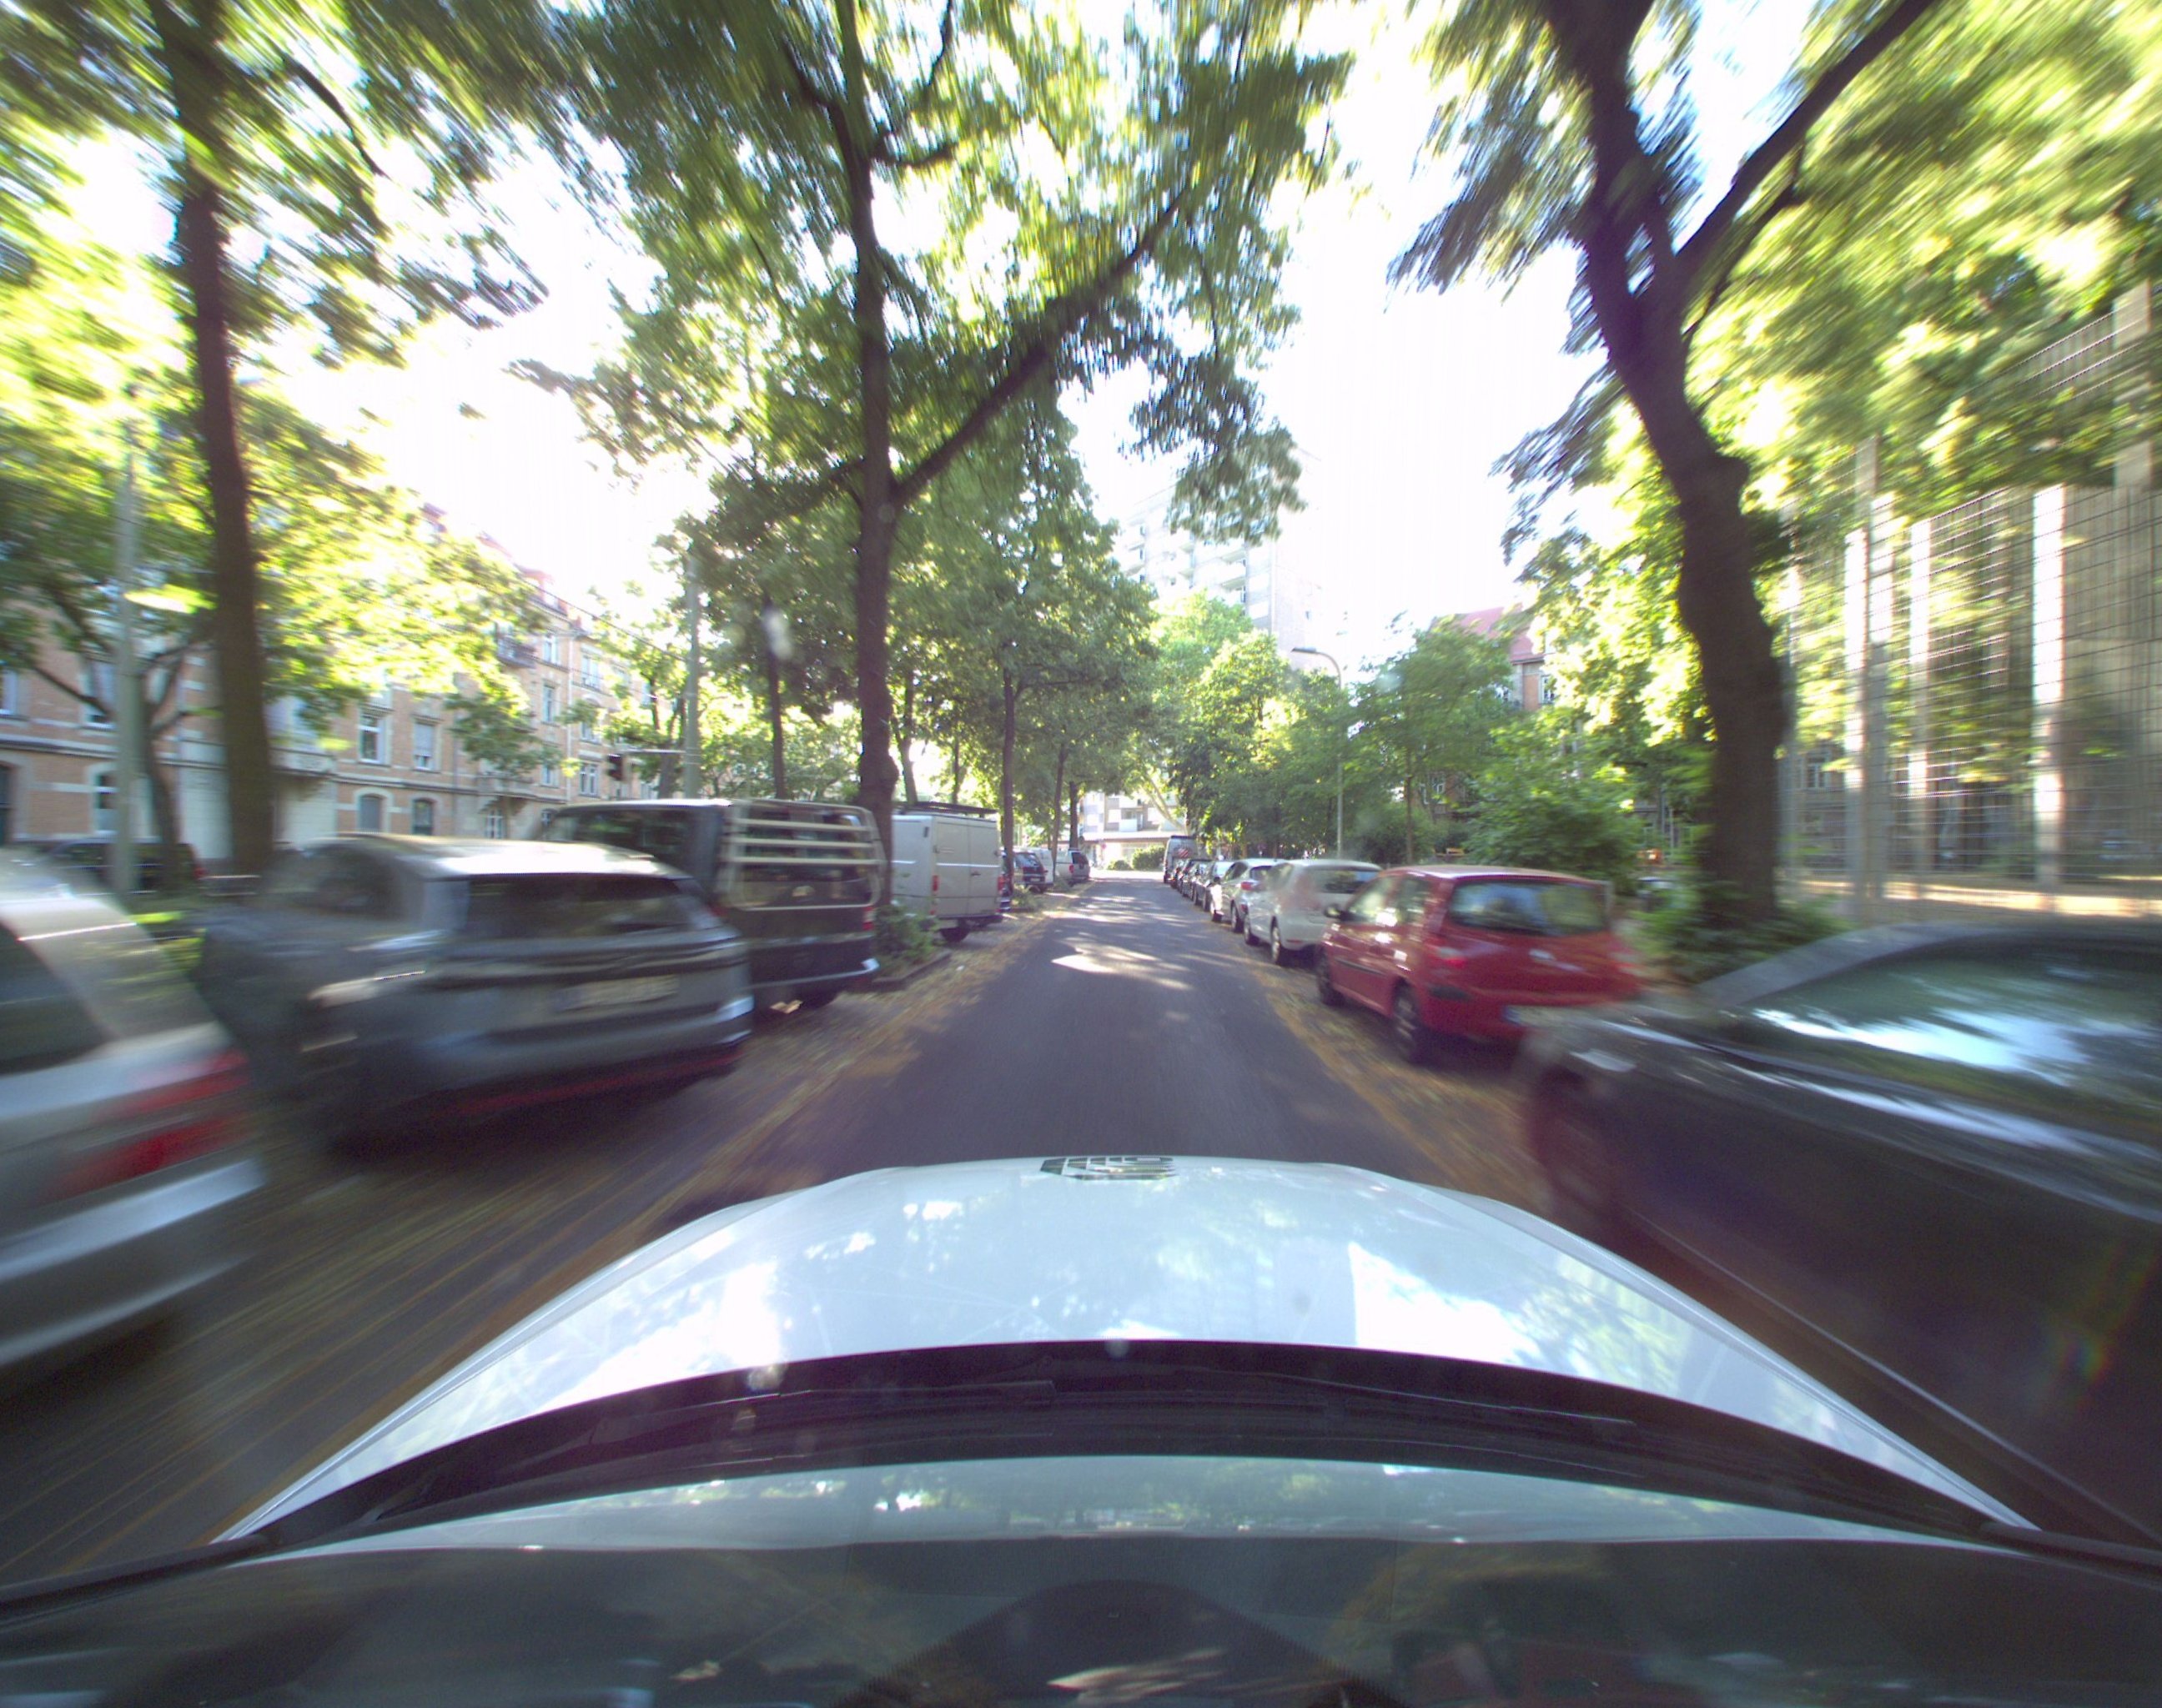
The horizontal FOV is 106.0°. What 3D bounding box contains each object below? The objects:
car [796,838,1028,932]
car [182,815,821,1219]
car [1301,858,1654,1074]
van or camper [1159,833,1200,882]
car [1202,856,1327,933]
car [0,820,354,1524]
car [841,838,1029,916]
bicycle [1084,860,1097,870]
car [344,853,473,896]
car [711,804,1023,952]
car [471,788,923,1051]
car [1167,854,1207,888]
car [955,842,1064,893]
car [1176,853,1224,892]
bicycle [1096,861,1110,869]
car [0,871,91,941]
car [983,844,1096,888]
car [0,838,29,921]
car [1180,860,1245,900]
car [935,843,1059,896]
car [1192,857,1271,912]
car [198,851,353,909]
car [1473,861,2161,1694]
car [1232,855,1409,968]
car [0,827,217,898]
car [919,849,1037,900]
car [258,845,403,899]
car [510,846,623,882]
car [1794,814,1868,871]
[{"bbox_3d":[-3.598,0.585,17.234,4.464,1.616,1.946,3,0,26],"label":"car"},{"bbox_3d":[-3.988,0.616,5.335,4.513,1.541,1.946,3,0,35],"label":"car"},{"bbox_3d":[3.204,0.776,7.377,1.584,1.454,3.556,0,0,2],"label":"car"},{"bbox_3d":[5.881,0.207,49.143,2.075,2.762,5.851,0,0,4],"label":"van or camper"},{"bbox_3d":[3.797,0.782,17.533,1.676,1.454,4.073,0,0,-2],"label":"car"},{"bbox_3d":[-4.240,0.637,2.601,4.042,1.488,1.795,3,0,33],"label":"car"},{"bbox_3d":[-3.727,0.525,20.524,4.462,1.616,1.865,3,0,32],"label":"car"},{"bbox_3d":[1.035,1.186,88.071,0.641,1.022,2.070,0,0,-25],"label":"bicycle"},{"bbox_3d":[-19.618,0.572,23.723,4.150,1.168,1.509,0,0,30],"label":"car"},{"bbox_3d":[-3.912,0.300,14.493,5.444,2.137,2.094,3,0,32],"label":"car"},{"bbox_3d":[-3.985,0.412,8.141,4.653,1.943,1.946,3,0,35],"label":"car"},{"bbox_3d":[5.146,0.796,39.960,1.673,1.526,4.494,0,0,4],"label":"car"},{"bbox_3d":[-2.891,0.509,32.608,4.108,1.781,1.895,3,0,38],"label":"car"},{"bbox_3d":[4.958,0.736,34.376,1.673,1.526,4.291,0,0,3],"label":"car"},{"bbox_3d":[2.314,1.153,86.046,0.546,0.904,1.718,0,0,-32],"label":"bicycle"},{"bbox_3d":[-19.354,0.887,14.278,4.115,1.097,1.838,-1,0,29],"label":"car"},{"bbox_3d":[-1.994,0.570,38.581,4.939,1.781,1.999,3,0,30],"label":"car"},{"bbox_3d":[-27.548,0.625,18.238,1.845,2.004,4.661,3,1,0],"label":"car"},{"bbox_3d":[4.522,0.858,28.526,1.674,1.283,4.289,0,0,2],"label":"car"},{"bbox_3d":[-3.069,0.538,29.387,4.107,1.644,1.927,3,0,34],"label":"car"},{"bbox_3d":[4.235,0.802,23.591,1.673,1.424,4.662,0,0,3],"label":"car"},{"bbox_3d":[-27.998,0.844,28.464,1.845,1.782,3.508,3,1,0],"label":"car"},{"bbox_3d":[2.760,0.764,2.104,1.666,1.454,3.950,0,0,1],"label":"car"},{"bbox_3d":[3.490,0.754,12.609,1.674,1.454,4.078,0,0,2],"label":"car"},{"bbox_3d":[-27.732,0.234,23.204,1.845,1.782,4.024,-2,0,0],"label":"car"},{"bbox_3d":[-3.386,0.644,26.659,3.384,1.425,1.845,3,0,33],"label":"car"},{"bbox_3d":[-19.603,0.438,21.241,4.135,1.310,1.646,0,0,31],"label":"car"},{"bbox_3d":[-19.579,0.370,30.982,3.952,1.317,1.602,0,0,22],"label":"car"},{"bbox_3d":[34.629,-0.459,37.576,2.342,2.456,5.542,-1,-1,44],"label":"car"}]
